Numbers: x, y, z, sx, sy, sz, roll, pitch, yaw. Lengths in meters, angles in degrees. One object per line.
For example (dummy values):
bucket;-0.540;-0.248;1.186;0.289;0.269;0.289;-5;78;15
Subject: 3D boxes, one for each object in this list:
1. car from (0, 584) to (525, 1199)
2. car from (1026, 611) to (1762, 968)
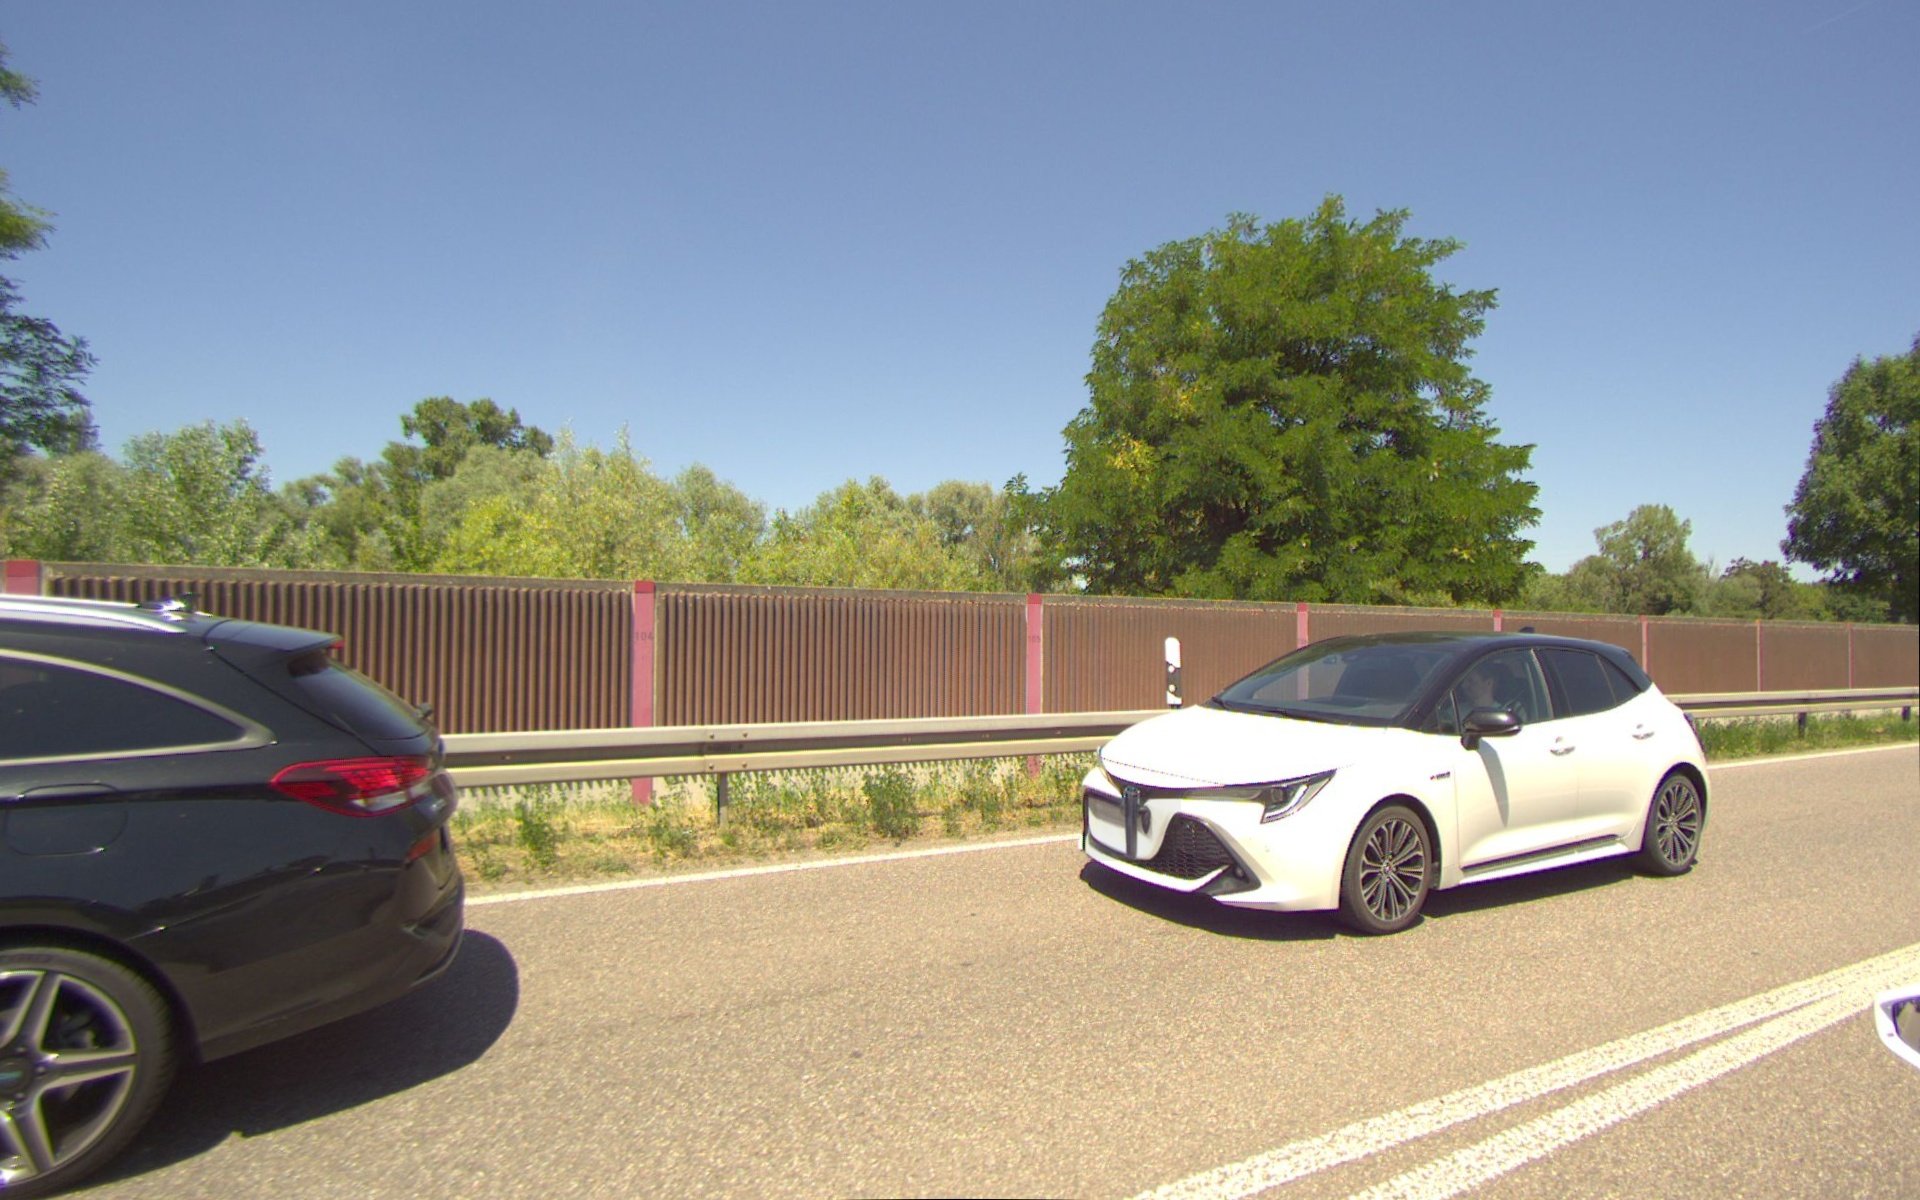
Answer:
car;-3.666;0.668;2.574;4.558;1.479;1.679;2;-1;-28
car;2.775;0.870;6.088;4.560;1.479;1.678;2;-1;-30
